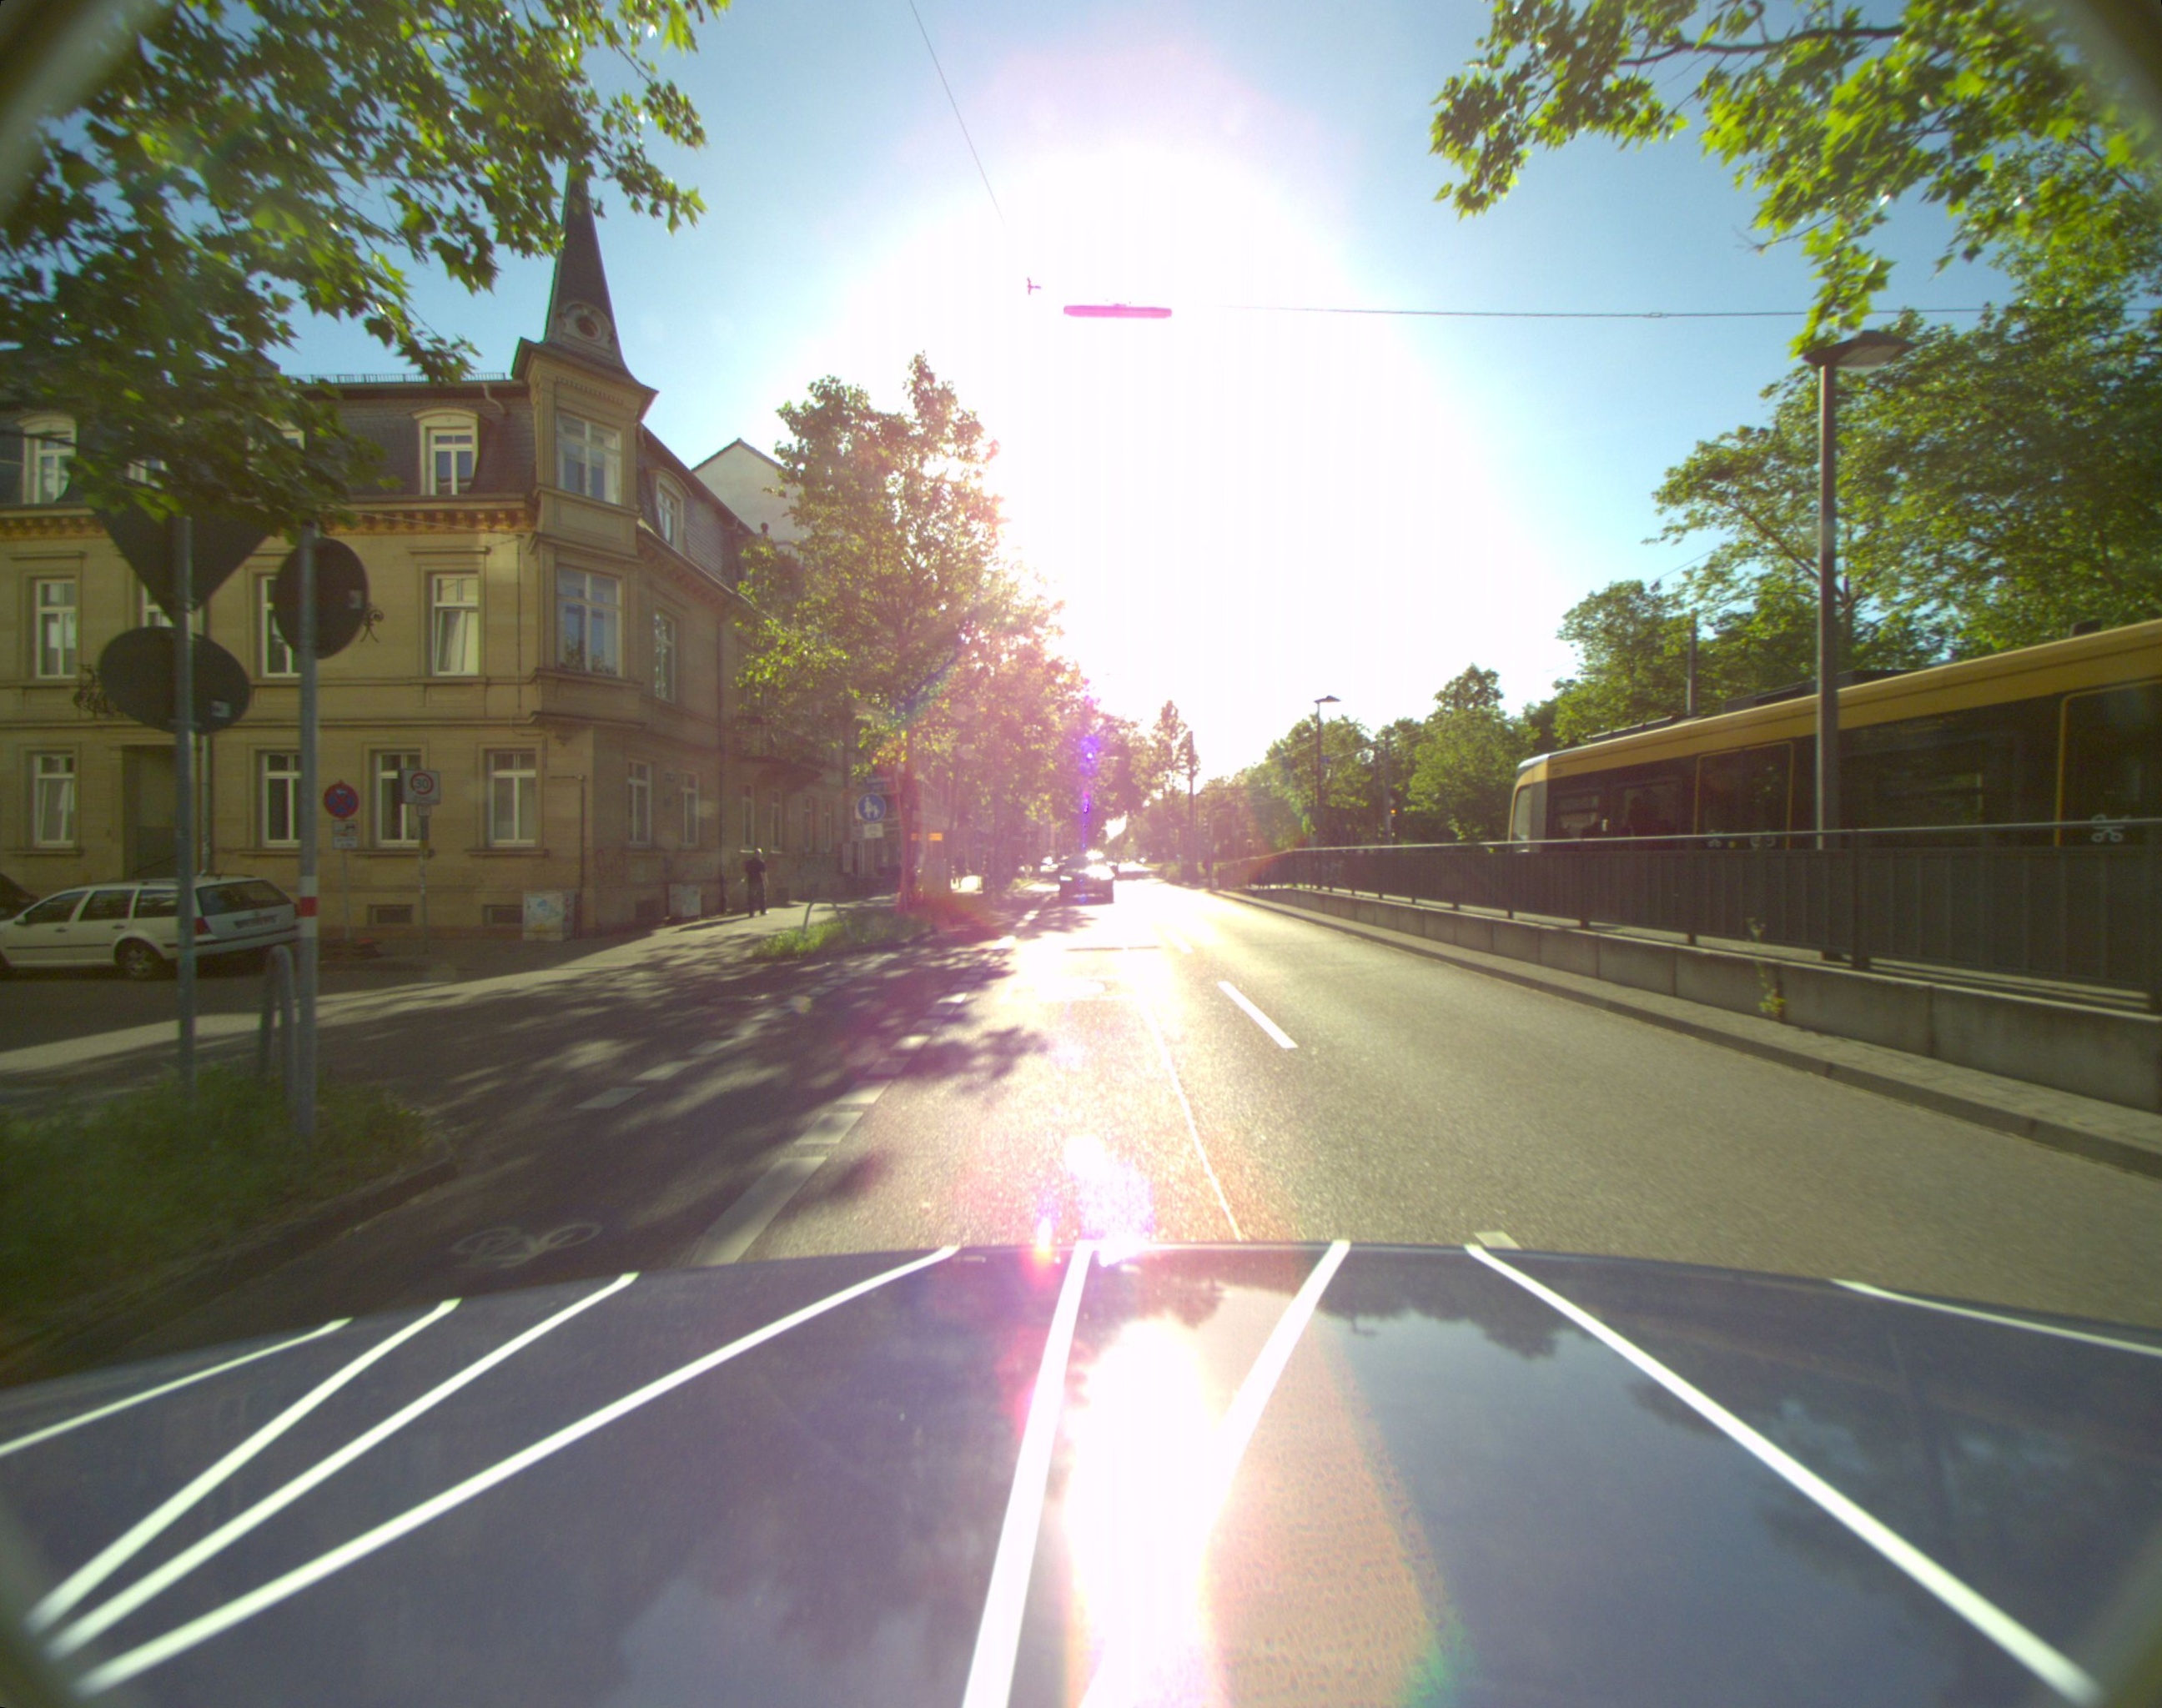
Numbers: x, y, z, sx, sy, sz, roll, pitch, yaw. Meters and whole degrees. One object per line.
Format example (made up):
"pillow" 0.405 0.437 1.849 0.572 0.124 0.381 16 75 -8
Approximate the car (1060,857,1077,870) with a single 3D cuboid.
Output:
"car" -1.363 1.042 84.153 1.705 1.415 4.517 -2 -1 0

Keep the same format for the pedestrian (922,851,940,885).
"pedestrian" -7.961 0.736 40.241 0.468 1.800 0.775 -2 0 32

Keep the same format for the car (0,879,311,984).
"car" -14.967 1.165 11.994 4.068 1.495 1.649 0 0 3

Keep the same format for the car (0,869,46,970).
"car" -19.838 1.148 12.304 3.996 1.667 1.667 -2 0 3

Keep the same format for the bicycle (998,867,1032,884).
"bicycle" -4.094 1.316 47.288 2.009 0.987 0.444 -2 0 -1

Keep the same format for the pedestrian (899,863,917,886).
"pedestrian" -8.779 1.045 38.608 0.654 1.154 0.672 -2 0 -35

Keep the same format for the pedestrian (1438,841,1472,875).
"pedestrian" 18.224 0.199 37.039 1.180 1.634 0.892 0 1 -6

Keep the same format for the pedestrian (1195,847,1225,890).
"pedestrian" 5.798 0.653 34.202 1.075 1.905 1.126 -1 0 -1

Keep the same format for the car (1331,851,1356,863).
"car" 31.376 0.373 90.928 1.773 1.304 3.781 -2 -1 1

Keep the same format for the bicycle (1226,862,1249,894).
"bicycle" 6.128 0.925 29.783 0.329 1.207 1.828 -1 0 -5

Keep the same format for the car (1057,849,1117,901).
"car" 0.188 0.721 27.468 1.969 1.663 4.000 -2 -1 0

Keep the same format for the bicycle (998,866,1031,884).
"bicycle" -4.091 1.292 46.800 2.019 0.987 0.444 -2 0 -1

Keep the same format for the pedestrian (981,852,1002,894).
"pedestrian" -3.849 0.815 32.742 0.643 1.761 0.869 -2 0 7

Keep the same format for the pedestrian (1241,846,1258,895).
"pedestrian" 6.512 0.626 29.318 0.452 1.891 0.584 -1 1 -7

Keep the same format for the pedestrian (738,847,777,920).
"pedestrian" -8.339 0.759 19.615 0.565 1.816 0.959 -2 0 -2

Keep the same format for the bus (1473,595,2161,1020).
"bus" 10.242 -0.354 10.639 2.876 3.423 13.218 -1 0 1

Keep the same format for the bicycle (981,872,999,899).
"bicycle" -3.495 1.178 29.153 0.429 0.964 1.751 -2 -1 1

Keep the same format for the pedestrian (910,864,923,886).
"pedestrian" -8.711 1.121 40.223 0.648 1.154 0.610 -2 0 -10

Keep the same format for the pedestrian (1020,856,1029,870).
"pedestrian" -7.024 1.116 95.059 1.002 1.750 0.715 -2 0 1

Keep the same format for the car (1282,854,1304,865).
"car" 32.071 0.850 115.100 1.999 1.612 4.000 -2 -1 -2

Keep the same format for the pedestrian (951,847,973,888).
"pedestrian" -6.068 0.689 38.764 0.884 2.002 0.857 -2 0 4

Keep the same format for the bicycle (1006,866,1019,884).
"bicycle" -3.936 1.217 43.428 0.444 0.987 1.687 -2 -1 -13
